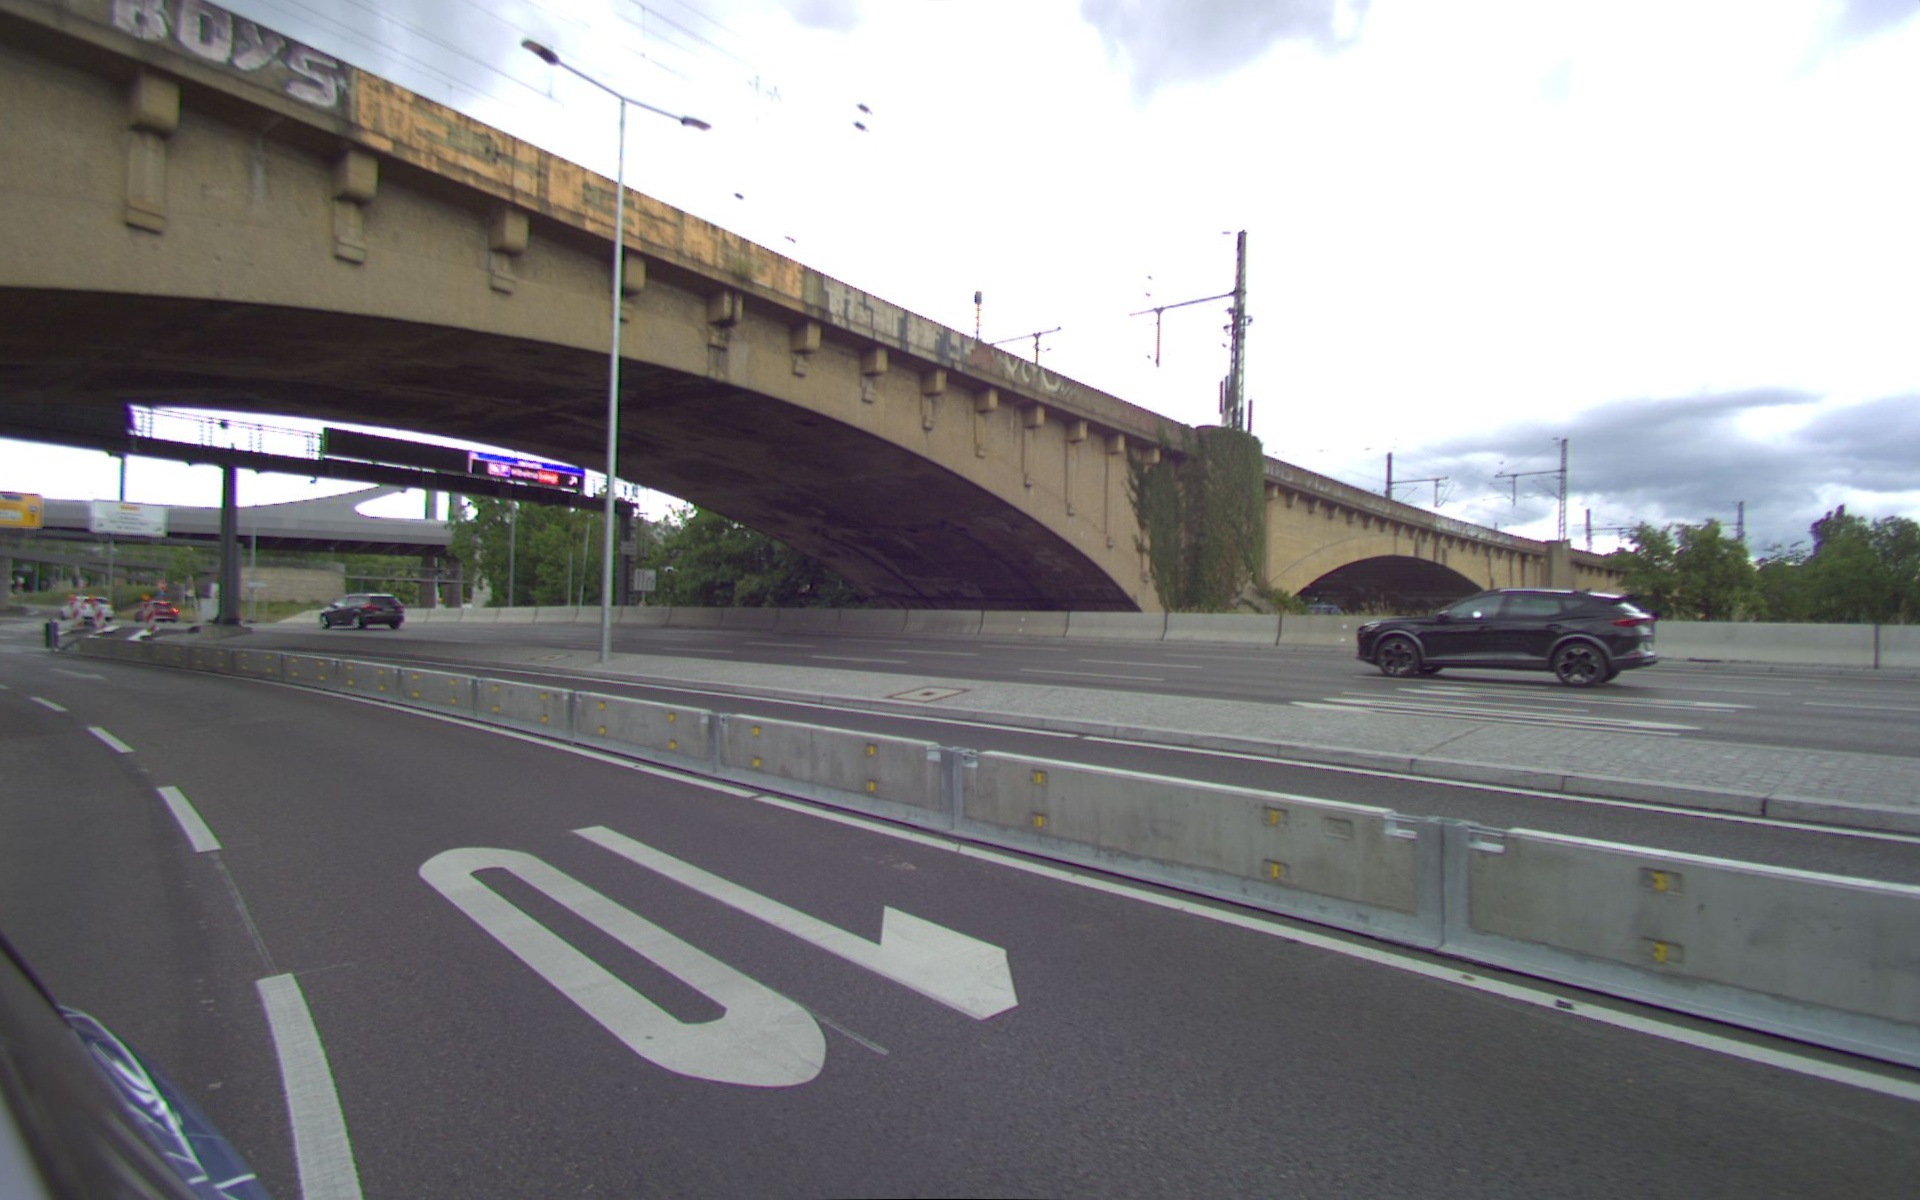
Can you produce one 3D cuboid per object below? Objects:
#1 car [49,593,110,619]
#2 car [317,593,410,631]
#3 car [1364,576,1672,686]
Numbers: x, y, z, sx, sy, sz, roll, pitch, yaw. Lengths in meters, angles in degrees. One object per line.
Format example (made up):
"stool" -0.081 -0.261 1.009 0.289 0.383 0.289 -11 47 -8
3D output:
"car" -53.370 0.359 61.333 4.391 1.548 1.821 0 0 36
"car" -25.682 0.504 43.555 4.390 1.548 1.802 0 0 35
"car" 9.139 0.446 16.759 4.135 1.597 1.972 0 0 42
